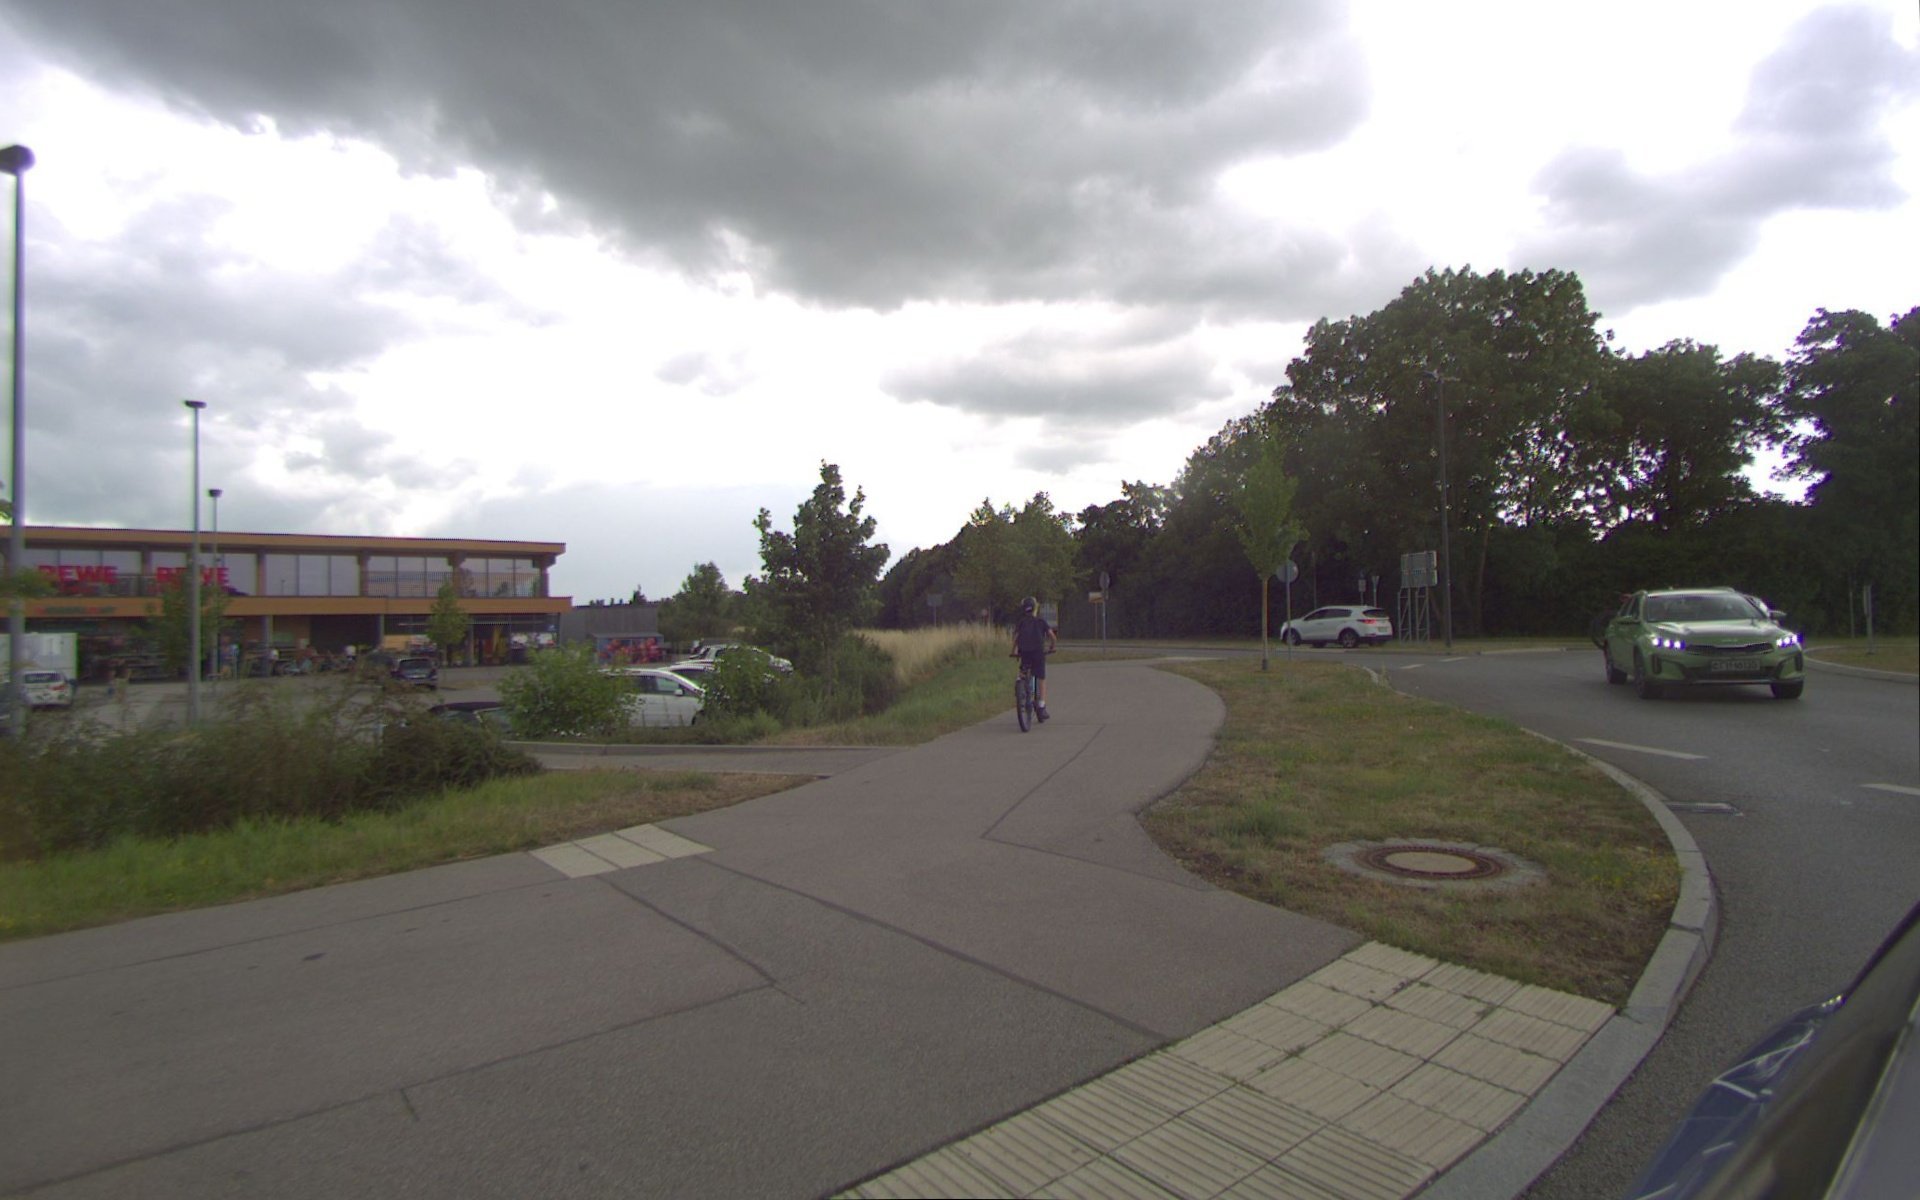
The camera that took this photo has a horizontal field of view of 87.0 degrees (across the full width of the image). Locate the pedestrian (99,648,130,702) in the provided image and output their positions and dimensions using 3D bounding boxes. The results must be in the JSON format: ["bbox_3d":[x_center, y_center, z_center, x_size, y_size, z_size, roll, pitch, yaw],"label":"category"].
[{"bbox_3d":[-33.169,2.921,39.717,0.916,2.039,0.804,0,-2,-41],"label":"pedestrian"}]

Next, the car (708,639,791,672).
[{"bbox_3d":[-10.320,2.720,49.863,3.812,1.483,1.698,-1,-1,-5],"label":"car"}]

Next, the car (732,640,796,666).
[{"bbox_3d":[-12.309,3.326,63.774,3.812,1.483,1.698,-1,-1,-5],"label":"car"}]

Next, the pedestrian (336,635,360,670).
[{"bbox_3d":[-35.342,3.033,58.447,0.783,1.923,0.923,-4,-3,18],"label":"pedestrian"}]

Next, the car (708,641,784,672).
[{"bbox_3d":[-11.492,3.002,54.486,3.812,1.483,1.698,-1,-1,-5],"label":"car"}]

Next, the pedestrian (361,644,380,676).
[{"bbox_3d":[-31.569,3.193,54.231,0.790,1.679,0.750,-1,-2,-37],"label":"pedestrian"}]

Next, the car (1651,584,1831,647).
[{"bbox_3d":[19.009,0.407,24.617,4.187,1.344,1.928,3,-2,-28],"label":"car"}]

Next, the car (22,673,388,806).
[{"bbox_3d":[-8.394,1.540,11.257,3.709,1.223,1.567,-4,-3,21],"label":"car"}]

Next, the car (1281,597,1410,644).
[{"bbox_3d":[14.692,0.826,38.794,1.889,1.622,4.275,-1,-2,-31],"label":"car"}]

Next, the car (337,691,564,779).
[{"bbox_3d":[-9.365,2.465,18.645,3.681,1.390,1.572,-3,-2,17],"label":"car"}]

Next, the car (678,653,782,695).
[{"bbox_3d":[-8.511,2.737,37.632,3.603,1.311,1.417,-2,-1,-5],"label":"car"}]

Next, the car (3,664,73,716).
[{"bbox_3d":[-32.390,3.107,35.632,1.702,1.549,3.992,-1,-1,-41],"label":"car"}]

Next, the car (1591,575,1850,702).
[{"bbox_3d":[10.832,0.452,14.864,1.905,1.521,4.842,-3,0,24],"label":"car"}]

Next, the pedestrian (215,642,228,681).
[{"bbox_3d":[-38.313,3.195,52.483,0.515,1.974,0.578,0,-2,-37],"label":"pedestrian"}]

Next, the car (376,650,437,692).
[{"bbox_3d":[-23.323,2.961,42.575,1.684,1.588,3.666,-1,-1,-38],"label":"car"}]

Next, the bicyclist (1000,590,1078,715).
[{"bbox_3d":[0.977,0.611,12.407,0.716,1.465,0.862,-1,0,23],"label":"bicyclist"}]

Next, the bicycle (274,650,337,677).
[{"bbox_3d":[-35.551,3.443,55.006,2.817,1.326,0.979,-1,-1,-38],"label":"bicycle"}]

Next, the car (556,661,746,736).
[{"bbox_3d":[-7.640,2.435,25.440,4.353,1.694,1.803,1,-1,-9],"label":"car"}]

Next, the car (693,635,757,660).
[{"bbox_3d":[-15.483,3.081,66.662,3.916,1.462,1.887,-1,-1,-20],"label":"car"}]

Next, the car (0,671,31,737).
[{"bbox_3d":[-26.016,2.766,26.999,1.702,1.573,3.992,0,-2,-41],"label":"car"}]

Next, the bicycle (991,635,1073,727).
[{"bbox_3d":[0.891,0.932,12.165,0.491,0.958,1.701,-1,0,22],"label":"bicycle"}]

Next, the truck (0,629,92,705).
[{"bbox_3d":[-38.602,2.665,39.524,7.131,2.843,2.971,-1,-1,-41],"label":"truck"}]

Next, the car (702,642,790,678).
[{"bbox_3d":[-9.862,2.749,46.890,3.812,1.483,1.698,-1,-1,-5],"label":"car"}]

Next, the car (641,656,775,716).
[{"bbox_3d":[-7.964,2.658,31.928,3.916,1.527,2.004,-2,-1,-17],"label":"car"}]
